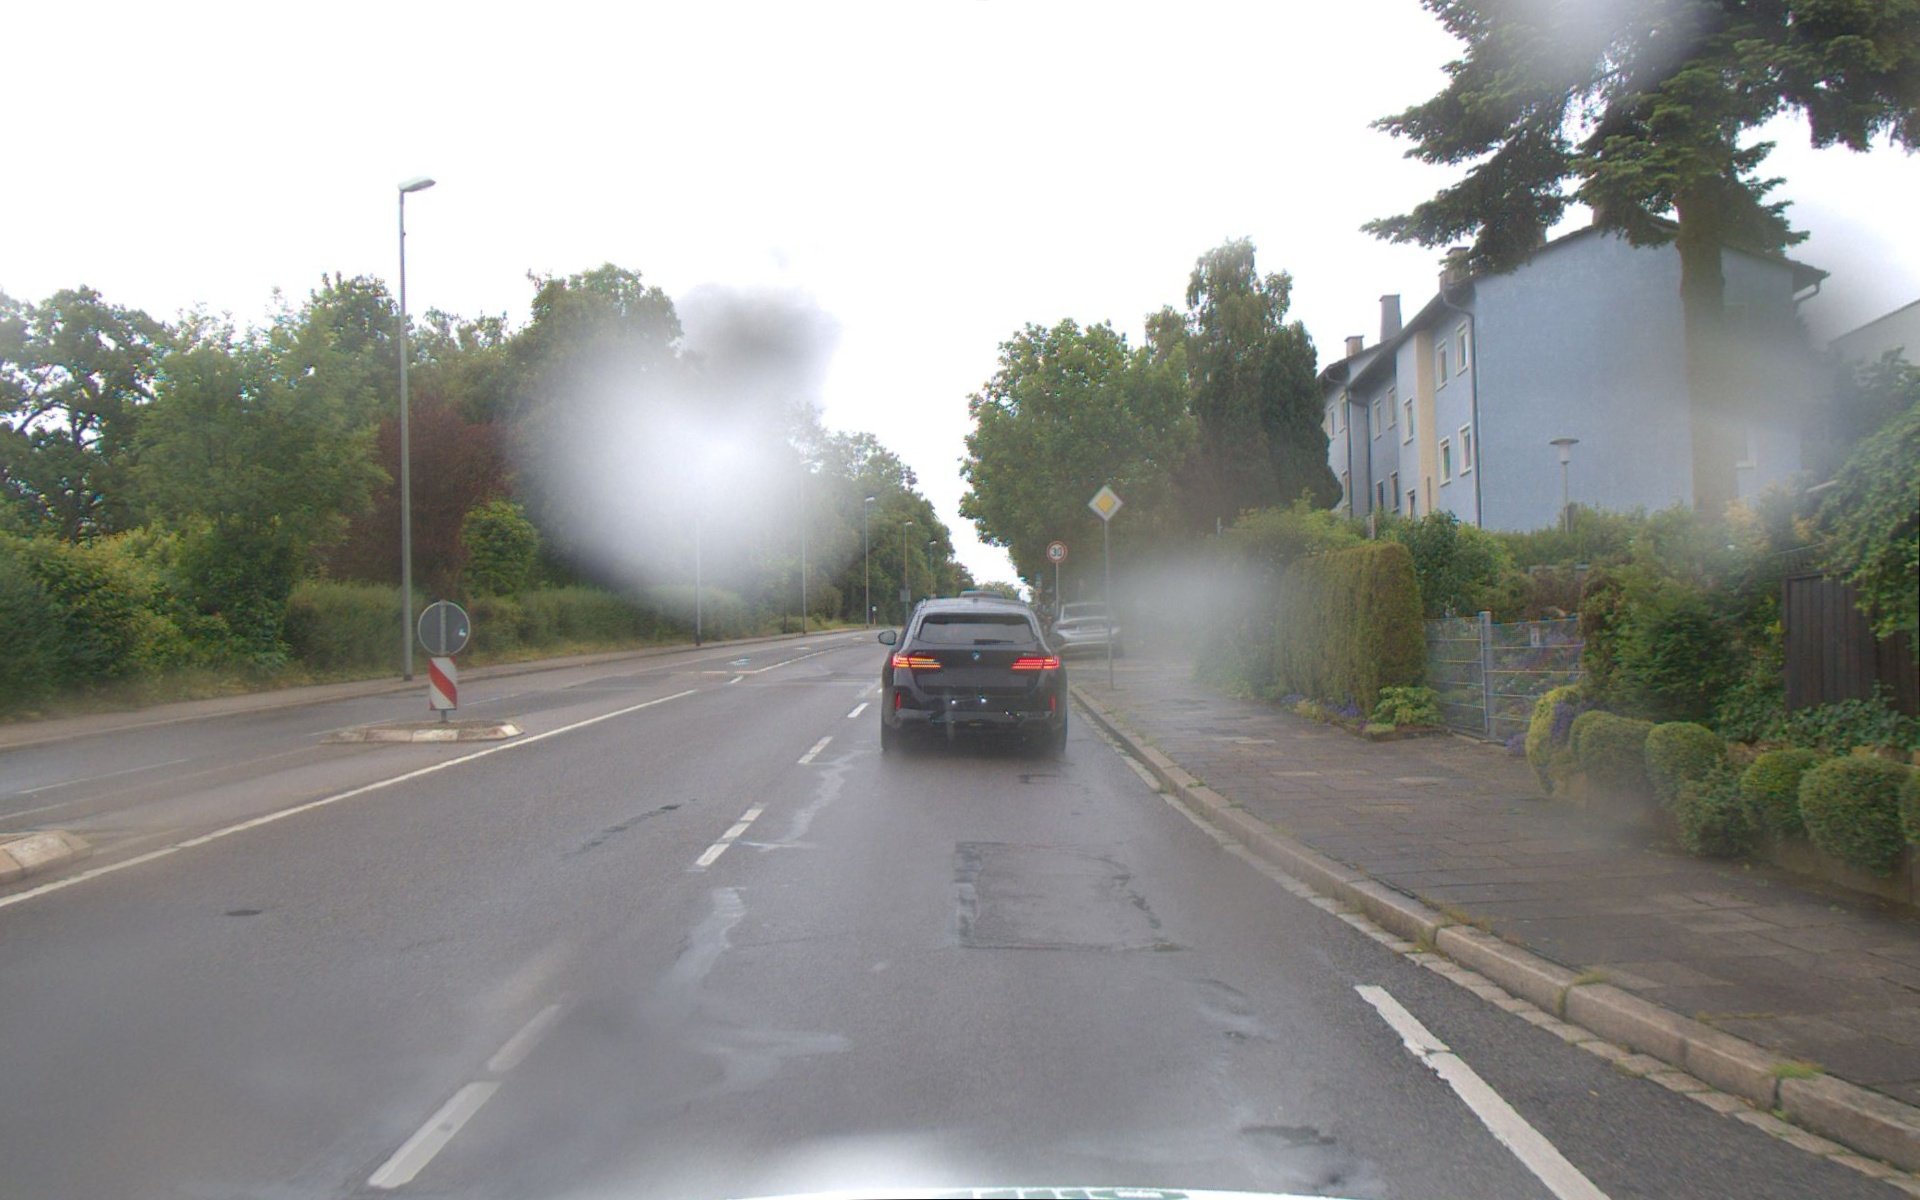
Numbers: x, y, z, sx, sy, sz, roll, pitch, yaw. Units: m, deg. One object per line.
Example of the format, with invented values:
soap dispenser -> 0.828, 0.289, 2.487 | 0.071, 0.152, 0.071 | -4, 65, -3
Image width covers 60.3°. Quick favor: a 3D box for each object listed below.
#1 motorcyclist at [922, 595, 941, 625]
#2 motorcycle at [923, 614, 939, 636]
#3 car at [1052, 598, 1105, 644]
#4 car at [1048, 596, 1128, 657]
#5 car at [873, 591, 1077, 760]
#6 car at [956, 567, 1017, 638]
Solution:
motorcyclist -> -1.567, 0.541, 91.167 | 1.018, 1.595, 0.855 | 1, -1, -1
motorcycle -> -1.582, 1.379, 91.278 | 0.858, 1.144, 2.740 | 1, 0, 0
car -> 4.027, 0.689, 56.577 | 1.557, 1.486, 3.562 | -1, 0, 0
car -> 3.332, 0.664, 43.616 | 1.895, 1.467, 4.409 | -2, 0, 2
car -> 0.167, 0.697, 17.306 | 1.858, 1.515, 4.000 | 1, 0, 1
car -> 0.715, 0.044, 46.626 | 1.596, 1.865, 4.000 | -2, 0, 0
